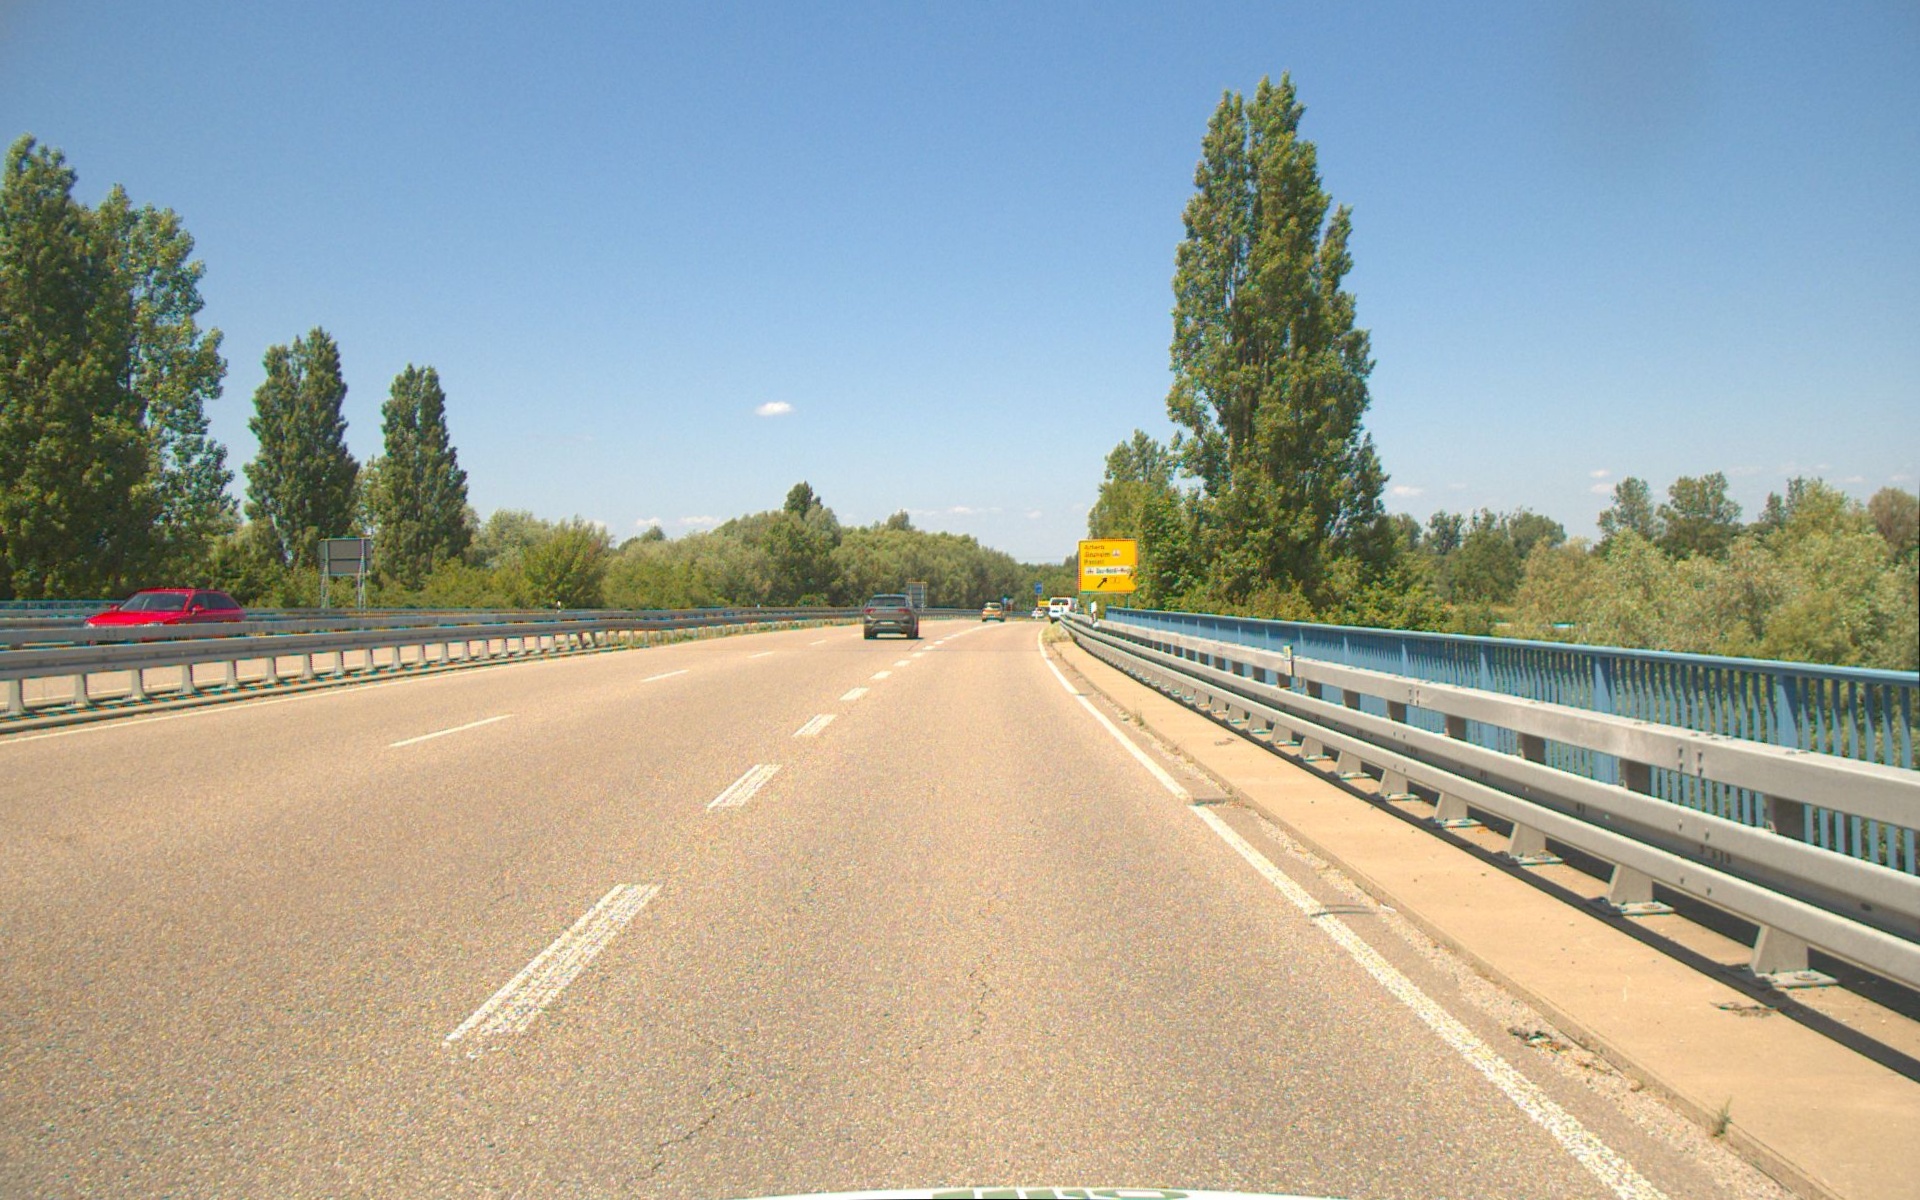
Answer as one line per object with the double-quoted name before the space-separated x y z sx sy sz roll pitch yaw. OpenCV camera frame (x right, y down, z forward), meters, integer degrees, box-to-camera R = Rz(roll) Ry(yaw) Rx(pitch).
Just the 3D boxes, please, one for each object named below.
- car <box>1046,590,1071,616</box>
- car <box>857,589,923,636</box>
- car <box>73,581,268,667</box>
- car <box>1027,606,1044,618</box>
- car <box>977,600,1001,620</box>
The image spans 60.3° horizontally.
"car" 7.517 0.214 126.377 1.803 1.928 4.002 1 1 3
"car" -2.460 0.421 59.115 1.802 1.556 4.472 1 1 4
"car" -16.813 0.493 35.545 1.806 1.697 5.050 0 0 0
"car" 9.556 1.508 208.327 1.802 1.476 4.003 1 1 8
"car" 2.360 0.809 133.484 1.803 1.489 4.001 1 1 2
